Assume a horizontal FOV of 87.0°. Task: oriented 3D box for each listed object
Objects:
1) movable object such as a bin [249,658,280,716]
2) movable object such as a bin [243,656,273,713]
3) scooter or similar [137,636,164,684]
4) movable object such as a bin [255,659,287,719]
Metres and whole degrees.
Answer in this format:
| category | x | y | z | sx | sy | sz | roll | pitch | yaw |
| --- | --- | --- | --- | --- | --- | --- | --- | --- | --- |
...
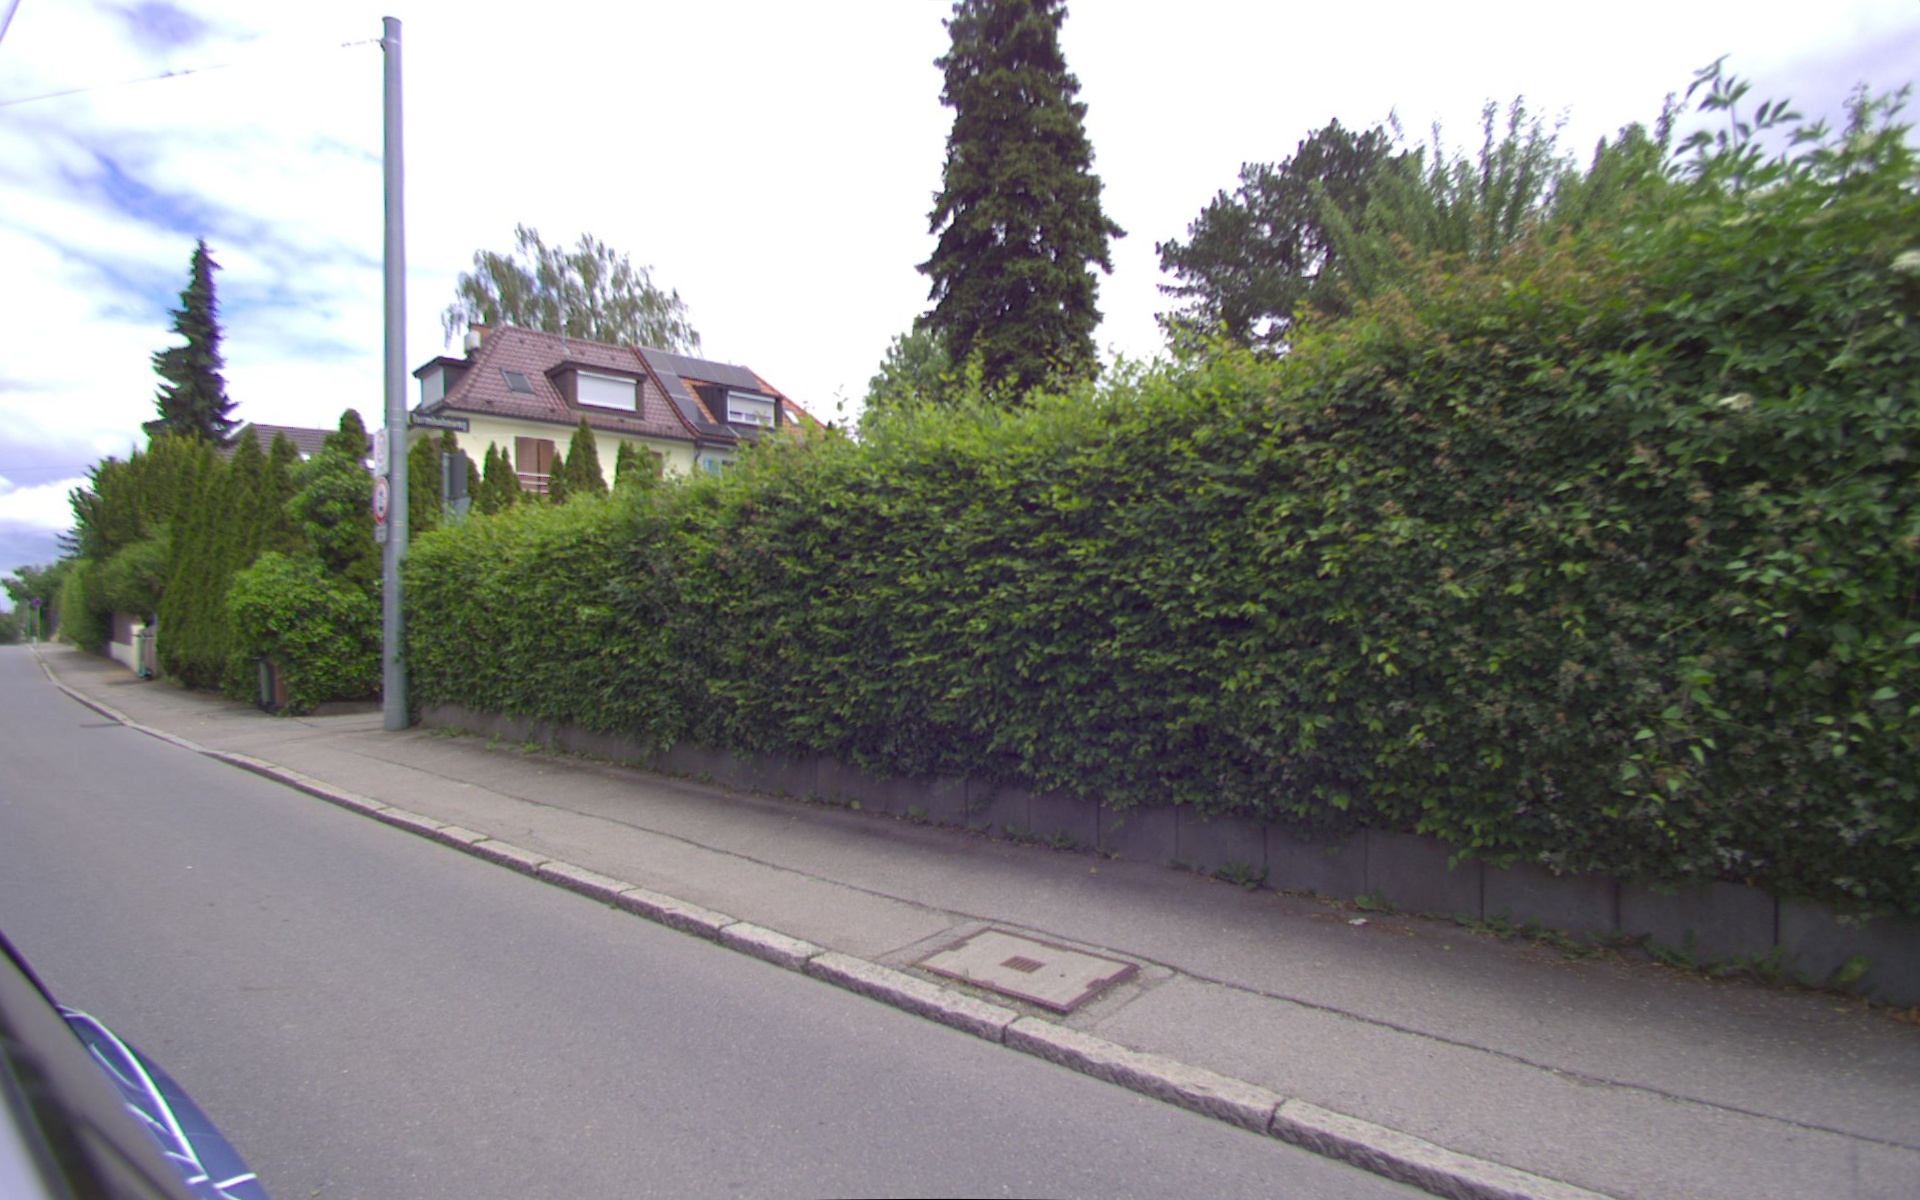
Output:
| category | x | y | z | sx | sy | sz | roll | pitch | yaw |
| --- | --- | --- | --- | --- | --- | --- | --- | --- | --- |
| movable object such as a bin | -11.359 | 1.420 | 16.531 | 0.332 | 0.900 | 0.476 | -2 | 0 | -43 |
| movable object such as a bin | -11.786 | 1.412 | 16.987 | 0.332 | 0.900 | 0.476 | -2 | 0 | -43 |
| scooter or similar | -20.874 | 1.538 | 26.089 | 0.387 | 1.180 | 1.271 | 0 | -1 | -45 |
| movable object such as a bin | -11.014 | 1.414 | 16.172 | 0.332 | 0.900 | 0.476 | -2 | 0 | -43 |
